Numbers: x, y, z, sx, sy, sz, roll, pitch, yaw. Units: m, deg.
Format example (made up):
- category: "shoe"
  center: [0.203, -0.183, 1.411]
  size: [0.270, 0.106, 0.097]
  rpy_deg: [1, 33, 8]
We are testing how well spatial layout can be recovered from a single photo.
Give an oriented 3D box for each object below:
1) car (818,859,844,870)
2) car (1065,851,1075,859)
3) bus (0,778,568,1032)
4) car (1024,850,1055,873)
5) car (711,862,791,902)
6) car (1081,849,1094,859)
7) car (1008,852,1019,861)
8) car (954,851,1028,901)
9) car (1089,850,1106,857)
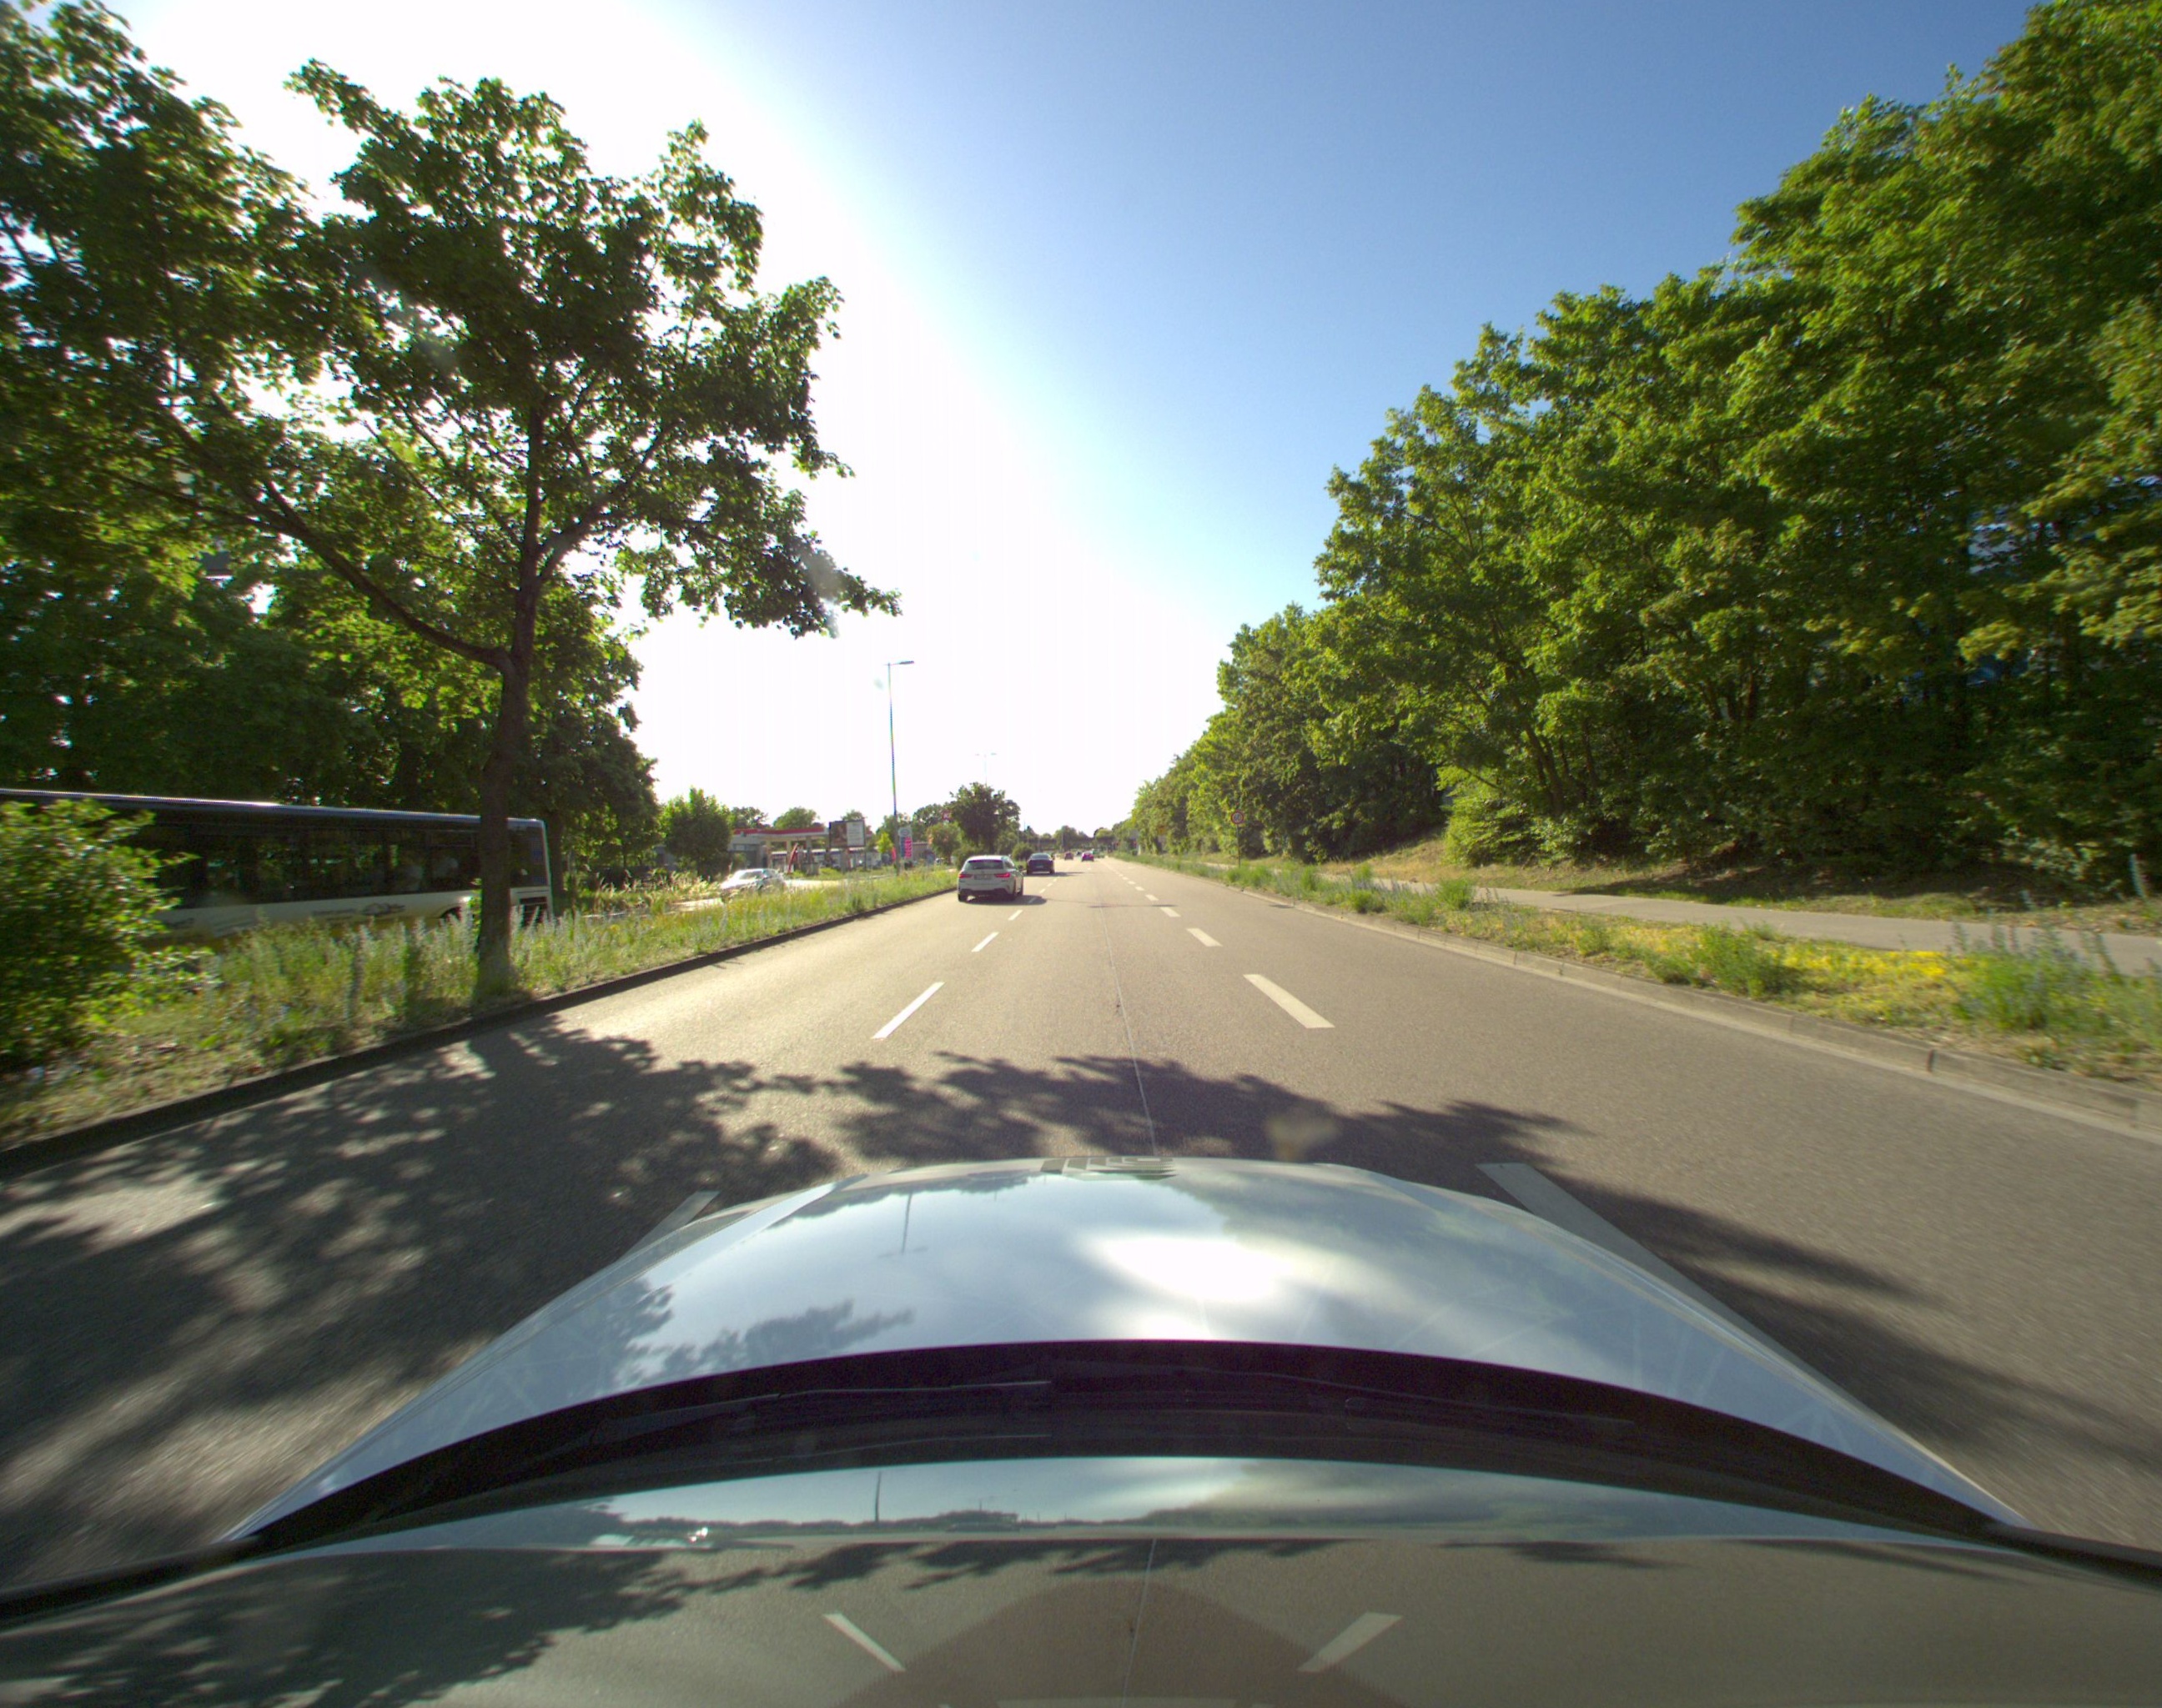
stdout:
- category: "car"
  center: [-48.527, 2.035, 158.060]
  size: [4.374, 1.842, 1.998]
  rpy_deg: [-2, 0, -3]
- category: "car"
  center: [-2.130, 0.170, 157.169]
  size: [1.855, 1.565, 4.547]
  rpy_deg: [-2, 0, 0]
- category: "bus"
  center: [-12.950, 0.619, 12.615]
  size: [2.712, 2.720, 11.087]
  rpy_deg: [-5, 1, 0]
- category: "car"
  center: [-2.828, 0.491, 56.290]
  size: [1.855, 1.455, 4.547]
  rpy_deg: [-2, 0, 0]
- category: "car"
  center: [-15.446, 1.277, 38.420]
  size: [1.750, 1.520, 4.530]
  rpy_deg: [-5, 1, 1]
- category: "car"
  center: [1.036, 0.037, 125.676]
  size: [1.855, 1.499, 4.336]
  rpy_deg: [-2, 0, 0]
- category: "car"
  center: [-14.573, 0.580, 176.900]
  size: [1.734, 1.802, 4.672]
  rpy_deg: [-5, 0, 1]
- category: "car"
  center: [-2.916, 0.675, 27.284]
  size: [1.855, 1.455, 4.549]
  rpy_deg: [-1, 1, 1]
- category: "car"
  center: [3.634, -0.040, 181.848]
  size: [3.418, 1.396, 1.450]
  rpy_deg: [-2, 0, 33]
